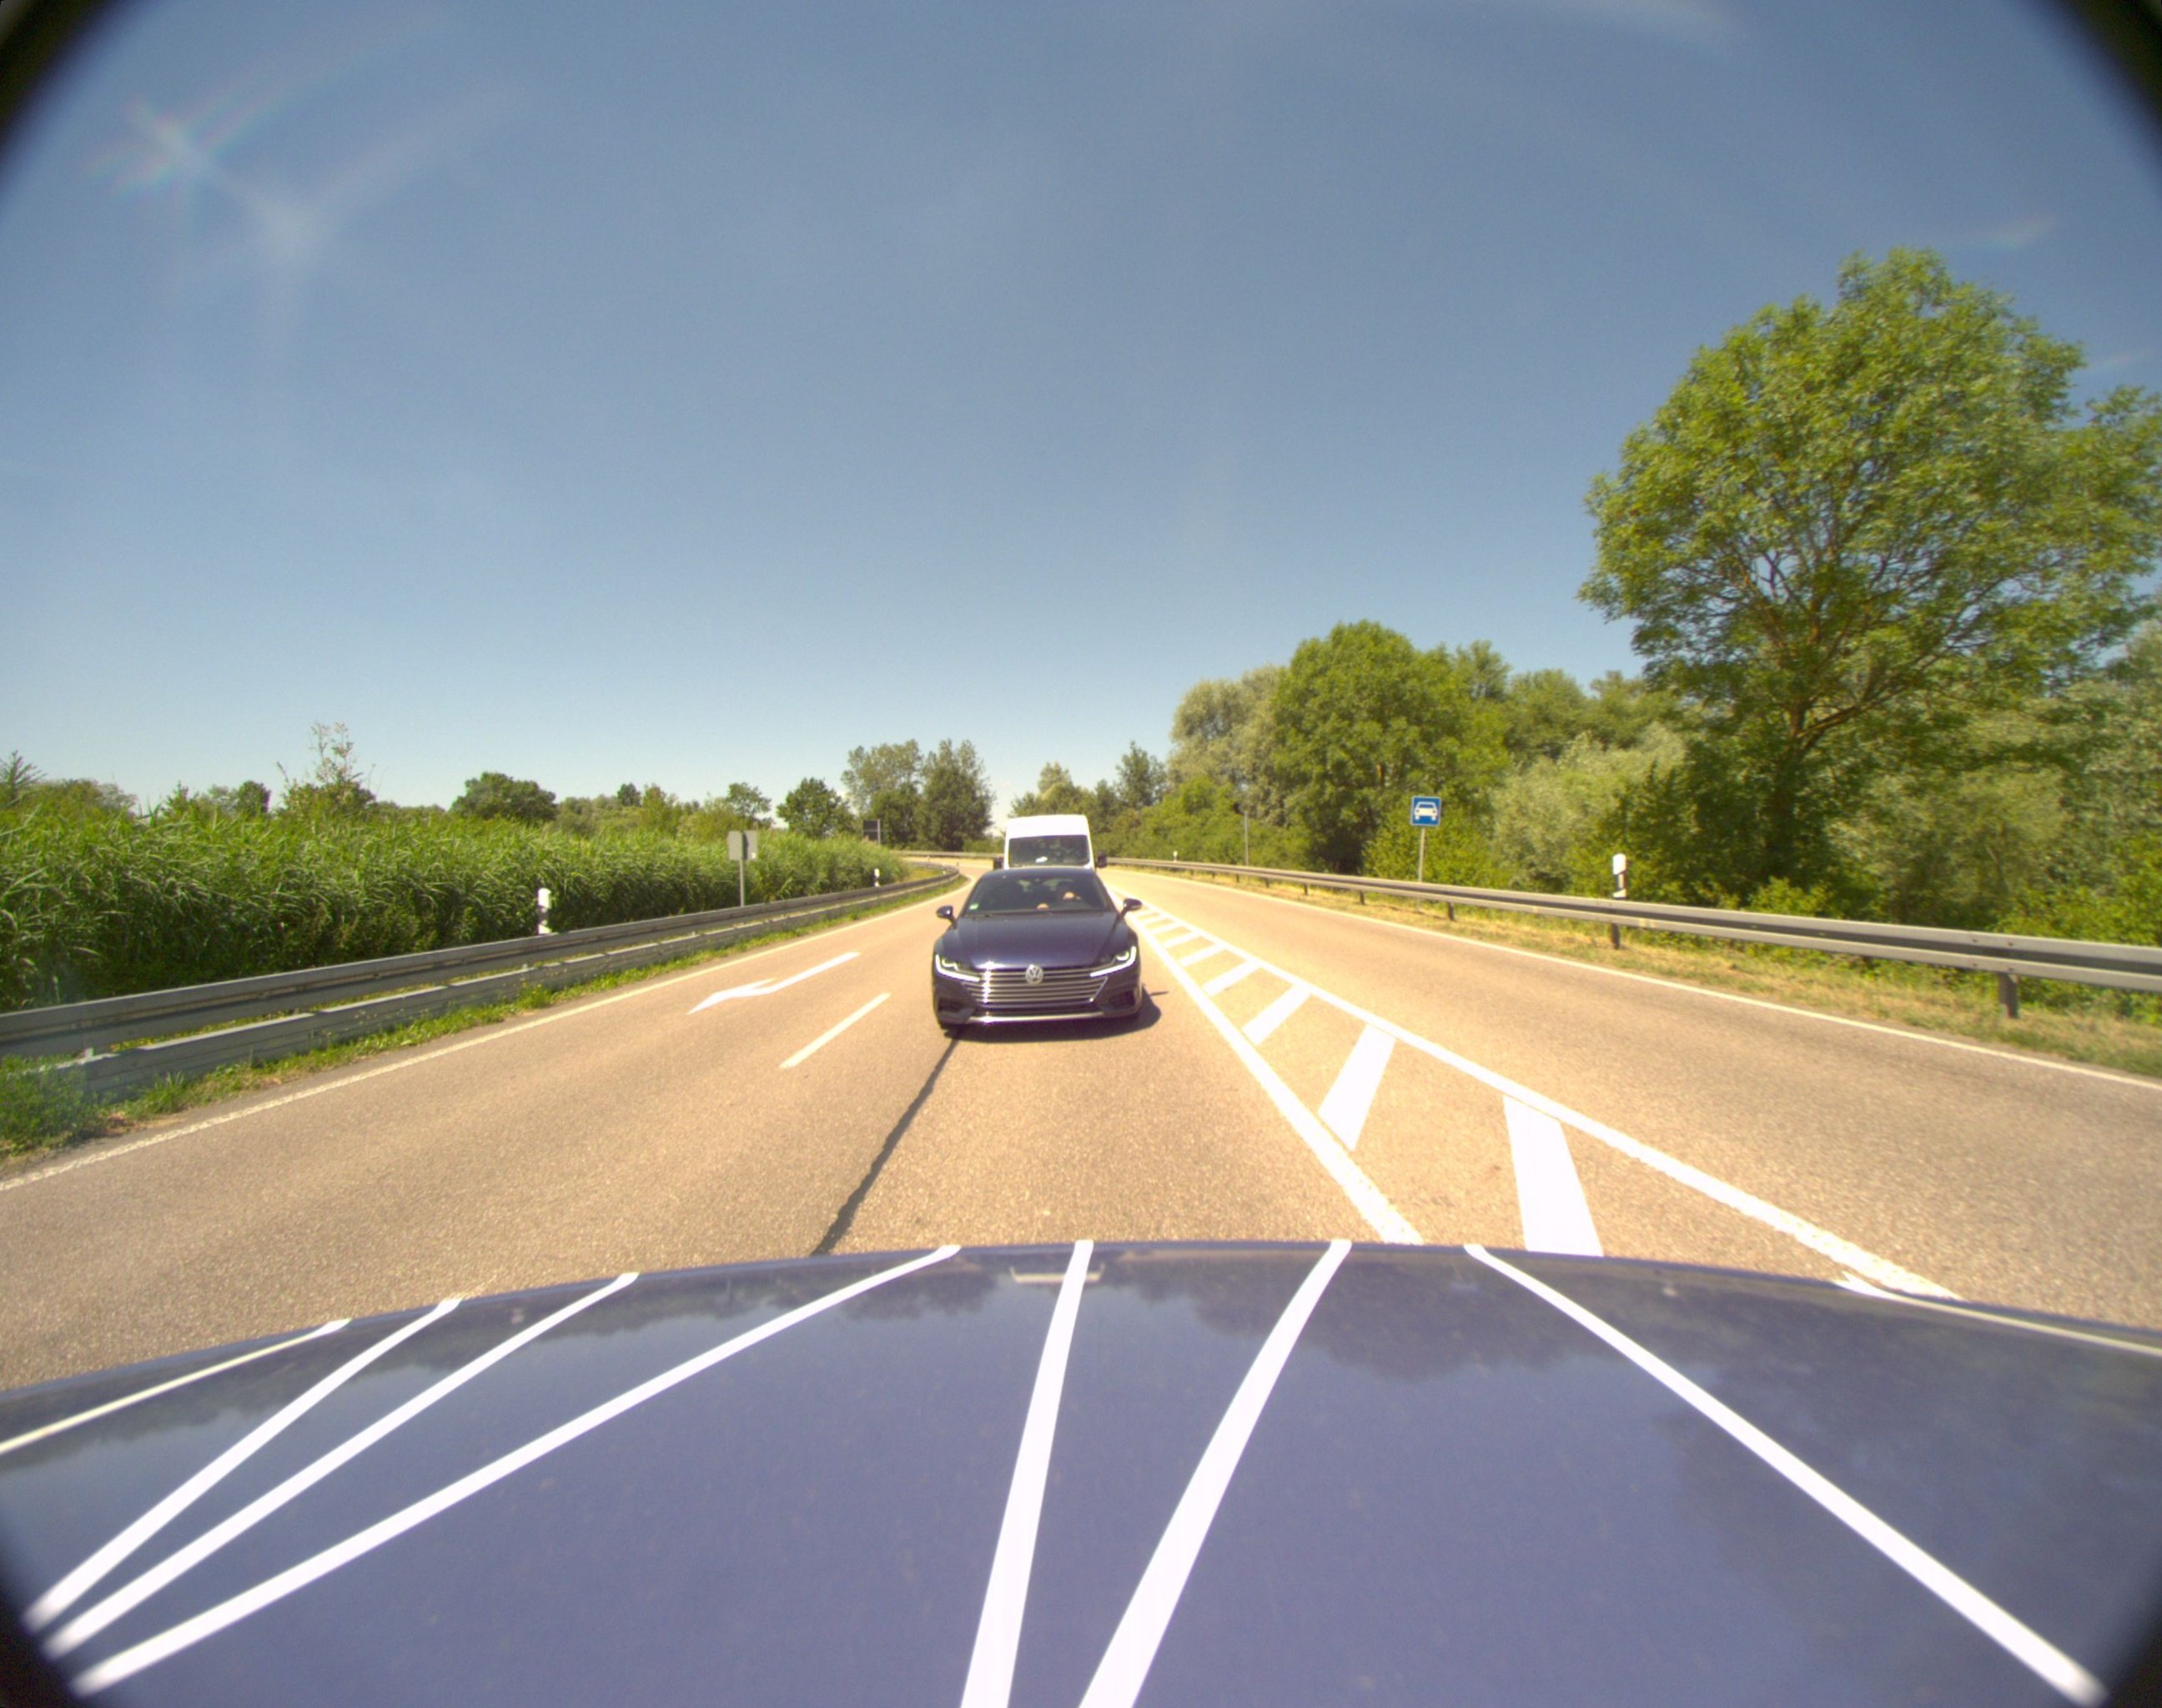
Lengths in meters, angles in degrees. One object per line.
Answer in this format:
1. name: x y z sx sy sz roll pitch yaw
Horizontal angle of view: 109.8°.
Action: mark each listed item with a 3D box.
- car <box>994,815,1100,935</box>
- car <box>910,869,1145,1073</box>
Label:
1. car: -0.672 0.396 18.319 2.059 2.376 5.826 -2 1 0
2. car: -0.400 0.943 7.857 1.761 1.401 3.999 -2 1 0
